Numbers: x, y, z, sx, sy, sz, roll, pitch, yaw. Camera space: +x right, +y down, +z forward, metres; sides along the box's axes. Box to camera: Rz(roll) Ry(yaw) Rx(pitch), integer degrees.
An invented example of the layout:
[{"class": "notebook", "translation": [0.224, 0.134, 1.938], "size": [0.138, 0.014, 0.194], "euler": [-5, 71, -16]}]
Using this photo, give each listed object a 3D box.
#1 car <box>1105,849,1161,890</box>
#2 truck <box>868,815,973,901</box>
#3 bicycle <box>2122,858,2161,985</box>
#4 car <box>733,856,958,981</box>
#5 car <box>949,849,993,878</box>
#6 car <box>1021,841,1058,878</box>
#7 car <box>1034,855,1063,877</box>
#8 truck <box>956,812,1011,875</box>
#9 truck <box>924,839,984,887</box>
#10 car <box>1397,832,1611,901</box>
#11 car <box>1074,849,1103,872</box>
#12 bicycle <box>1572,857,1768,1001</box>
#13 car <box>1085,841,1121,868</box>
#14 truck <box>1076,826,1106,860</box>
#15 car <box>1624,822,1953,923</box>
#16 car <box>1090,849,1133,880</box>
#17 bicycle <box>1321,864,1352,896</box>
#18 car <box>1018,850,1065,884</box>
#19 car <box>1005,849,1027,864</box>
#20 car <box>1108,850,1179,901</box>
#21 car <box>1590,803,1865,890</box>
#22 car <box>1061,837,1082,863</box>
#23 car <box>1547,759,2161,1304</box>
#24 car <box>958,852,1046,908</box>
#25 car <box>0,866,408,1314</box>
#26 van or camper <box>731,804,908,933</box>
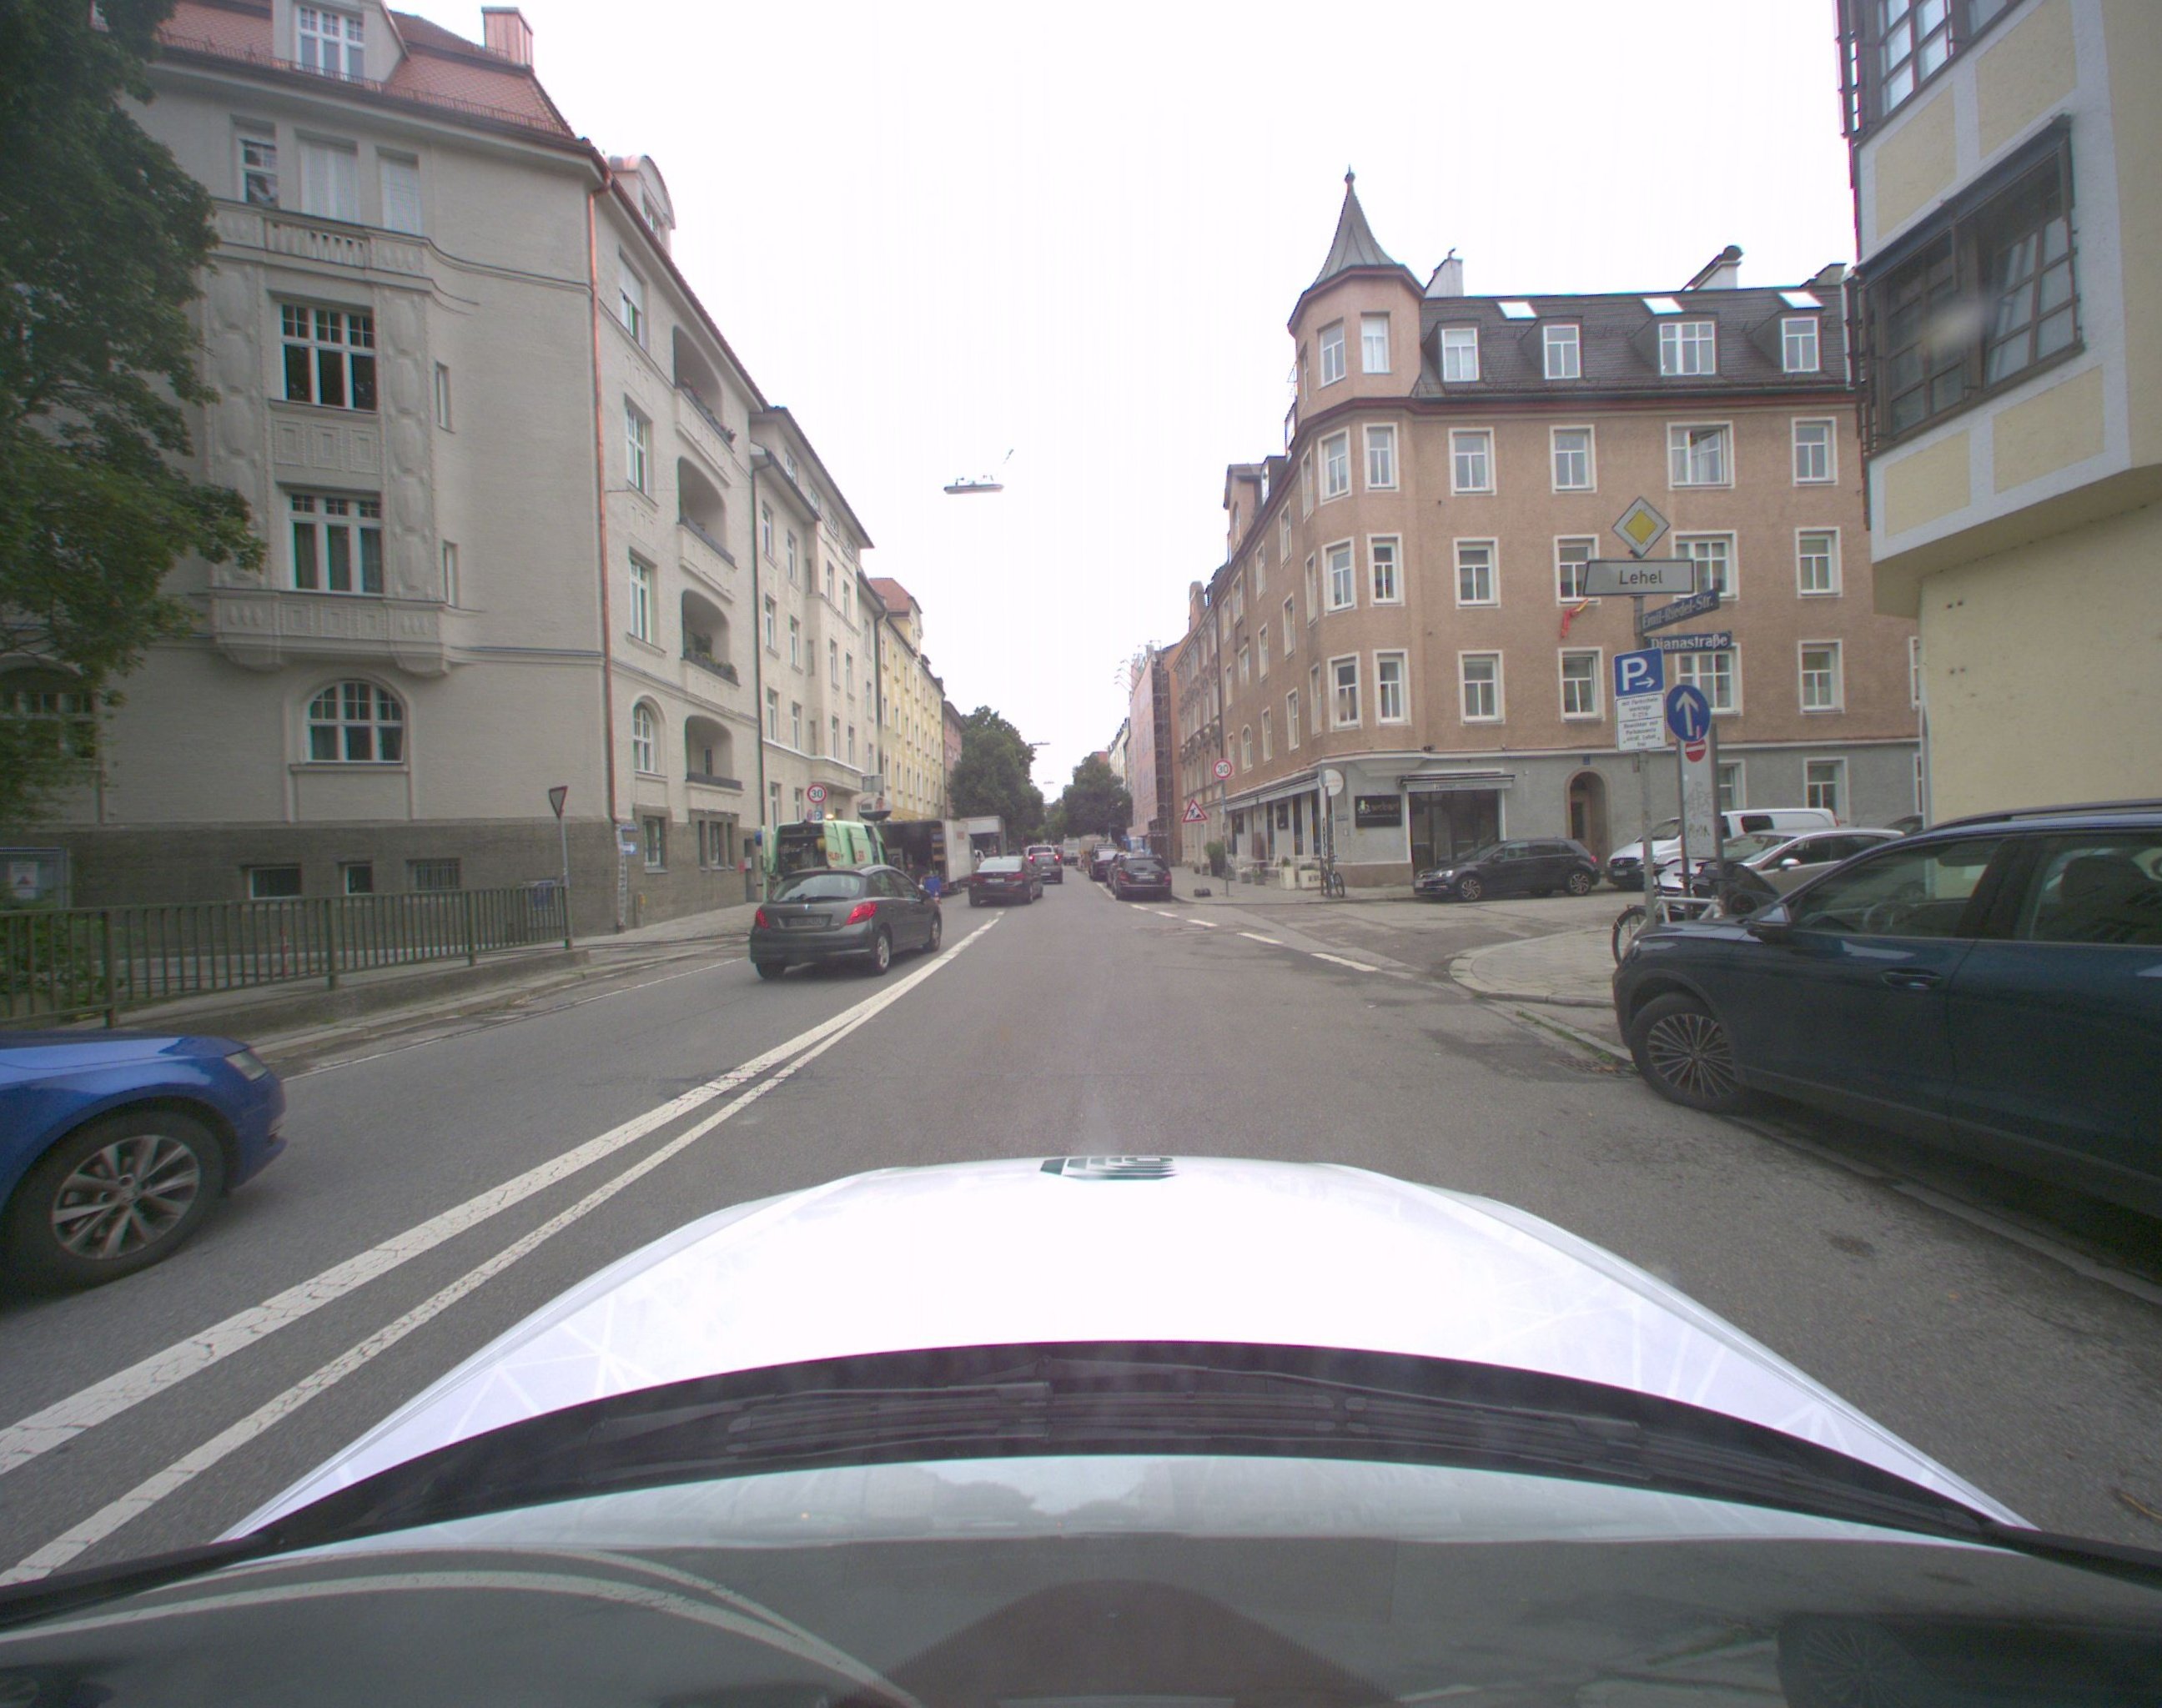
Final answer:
[{"class": "car", "translation": [1.996, 0.559, 32.371], "size": [1.839, 1.429, 4.137], "euler": [1, 1, -2]}, {"class": "truck", "translation": [-6.041, 0.065, 31.880], "size": [2.766, 2.872, 7.198], "euler": [-2, 1, -1]}, {"class": "bicycle", "translation": [8.526, 0.529, 5.715], "size": [0.270, 0.977, 1.684], "euler": [-1, 0, 0]}, {"class": "car", "translation": [-3.242, 0.816, 12.143], "size": [1.750, 1.461, 4.081], "euler": [-2, 0, 6]}, {"class": "car", "translation": [-6.351, 0.521, 47.551], "size": [1.984, 1.610, 4.139], "euler": [-2, 0, 0]}, {"class": "car", "translation": [-2.487, 0.267, 49.873], "size": [1.984, 2.075, 4.140], "euler": [-2, 1, 0]}, {"class": "car", "translation": [-2.406, 0.897, 61.964], "size": [1.984, 1.429, 4.140], "euler": [-2, 1, 0]}, {"class": "truck", "translation": [-6.493, -0.679, 55.078], "size": [3.005, 3.951, 6.989], "euler": [-2, 0, -2]}, {"class": "truck", "translation": [-6.165, 0.422, 40.075], "size": [2.280, 2.171, 4.804], "euler": [-2, 0, -2]}, {"class": "car", "translation": [10.155, 0.318, 19.774], "size": [4.157, 1.429, 1.924], "euler": [-2, -2, -1]}, {"class": "car", "translation": [0.493, 0.435, 58.862], "size": [1.984, 1.429, 4.140], "euler": [-2, 1, 0]}, {"class": "bicycle", "translation": [5.657, 0.648, 7.990], "size": [0.512, 1.208, 1.996], "euler": [-1, 0, 2]}, {"class": "car", "translation": [1.274, -0.003, 49.112], "size": [1.984, 1.429, 4.140], "euler": [-2, 1, 0]}, {"class": "truck", "translation": [0.894, -0.958, 74.964], "size": [2.485, 2.973, 5.324], "euler": [-2, 0, -1]}, {"class": "car", "translation": [11.763, 0.267, 13.744], "size": [4.022, 1.456, 1.747], "euler": [-2, 2, 1]}, {"class": "car", "translation": [1.484, 0.494, 41.133], "size": [1.839, 1.429, 4.303], "euler": [1, 1, -2]}, {"class": "bicycle", "translation": [6.879, 0.687, 21.976], "size": [0.455, 0.805, 1.327], "euler": [-1, 0, 2]}, {"class": "car", "translation": [-1.810, 0.574, 38.677], "size": [1.984, 1.429, 4.140], "euler": [-2, 1, 0]}, {"class": "car", "translation": [-6.469, 0.260, 81.683], "size": [1.934, 1.448, 3.864], "euler": [-2, 0, -2]}, {"class": "car", "translation": [1.953, 0.635, 26.517], "size": [1.839, 1.429, 4.180], "euler": [1, 1, -2]}, {"class": "car", "translation": [15.832, -0.149, 20.163], "size": [5.112, 1.854, 2.099], "euler": [-2, -2, -1]}, {"class": "car", "translation": [-0.960, -0.377, 82.080], "size": [1.933, 2.480, 4.783], "euler": [-2, 0, 1]}, {"class": "car", "translation": [4.211, 0.496, 3.498], "size": [1.812, 1.679, 4.511], "euler": [-3, 0, 1]}, {"class": "car", "translation": [-2.334, 0.720, 25.431], "size": [1.982, 1.429, 4.910], "euler": [-2, 1, 3]}, {"class": "car", "translation": [-4.761, 0.845, 1.863], "size": [1.975, 1.454, 4.748], "euler": [-2, 0, 10]}, {"class": "van or camper", "translation": [-6.601, 0.259, 21.602], "size": [2.592, 2.840, 6.185], "euler": [-2, 1, 0]}]
